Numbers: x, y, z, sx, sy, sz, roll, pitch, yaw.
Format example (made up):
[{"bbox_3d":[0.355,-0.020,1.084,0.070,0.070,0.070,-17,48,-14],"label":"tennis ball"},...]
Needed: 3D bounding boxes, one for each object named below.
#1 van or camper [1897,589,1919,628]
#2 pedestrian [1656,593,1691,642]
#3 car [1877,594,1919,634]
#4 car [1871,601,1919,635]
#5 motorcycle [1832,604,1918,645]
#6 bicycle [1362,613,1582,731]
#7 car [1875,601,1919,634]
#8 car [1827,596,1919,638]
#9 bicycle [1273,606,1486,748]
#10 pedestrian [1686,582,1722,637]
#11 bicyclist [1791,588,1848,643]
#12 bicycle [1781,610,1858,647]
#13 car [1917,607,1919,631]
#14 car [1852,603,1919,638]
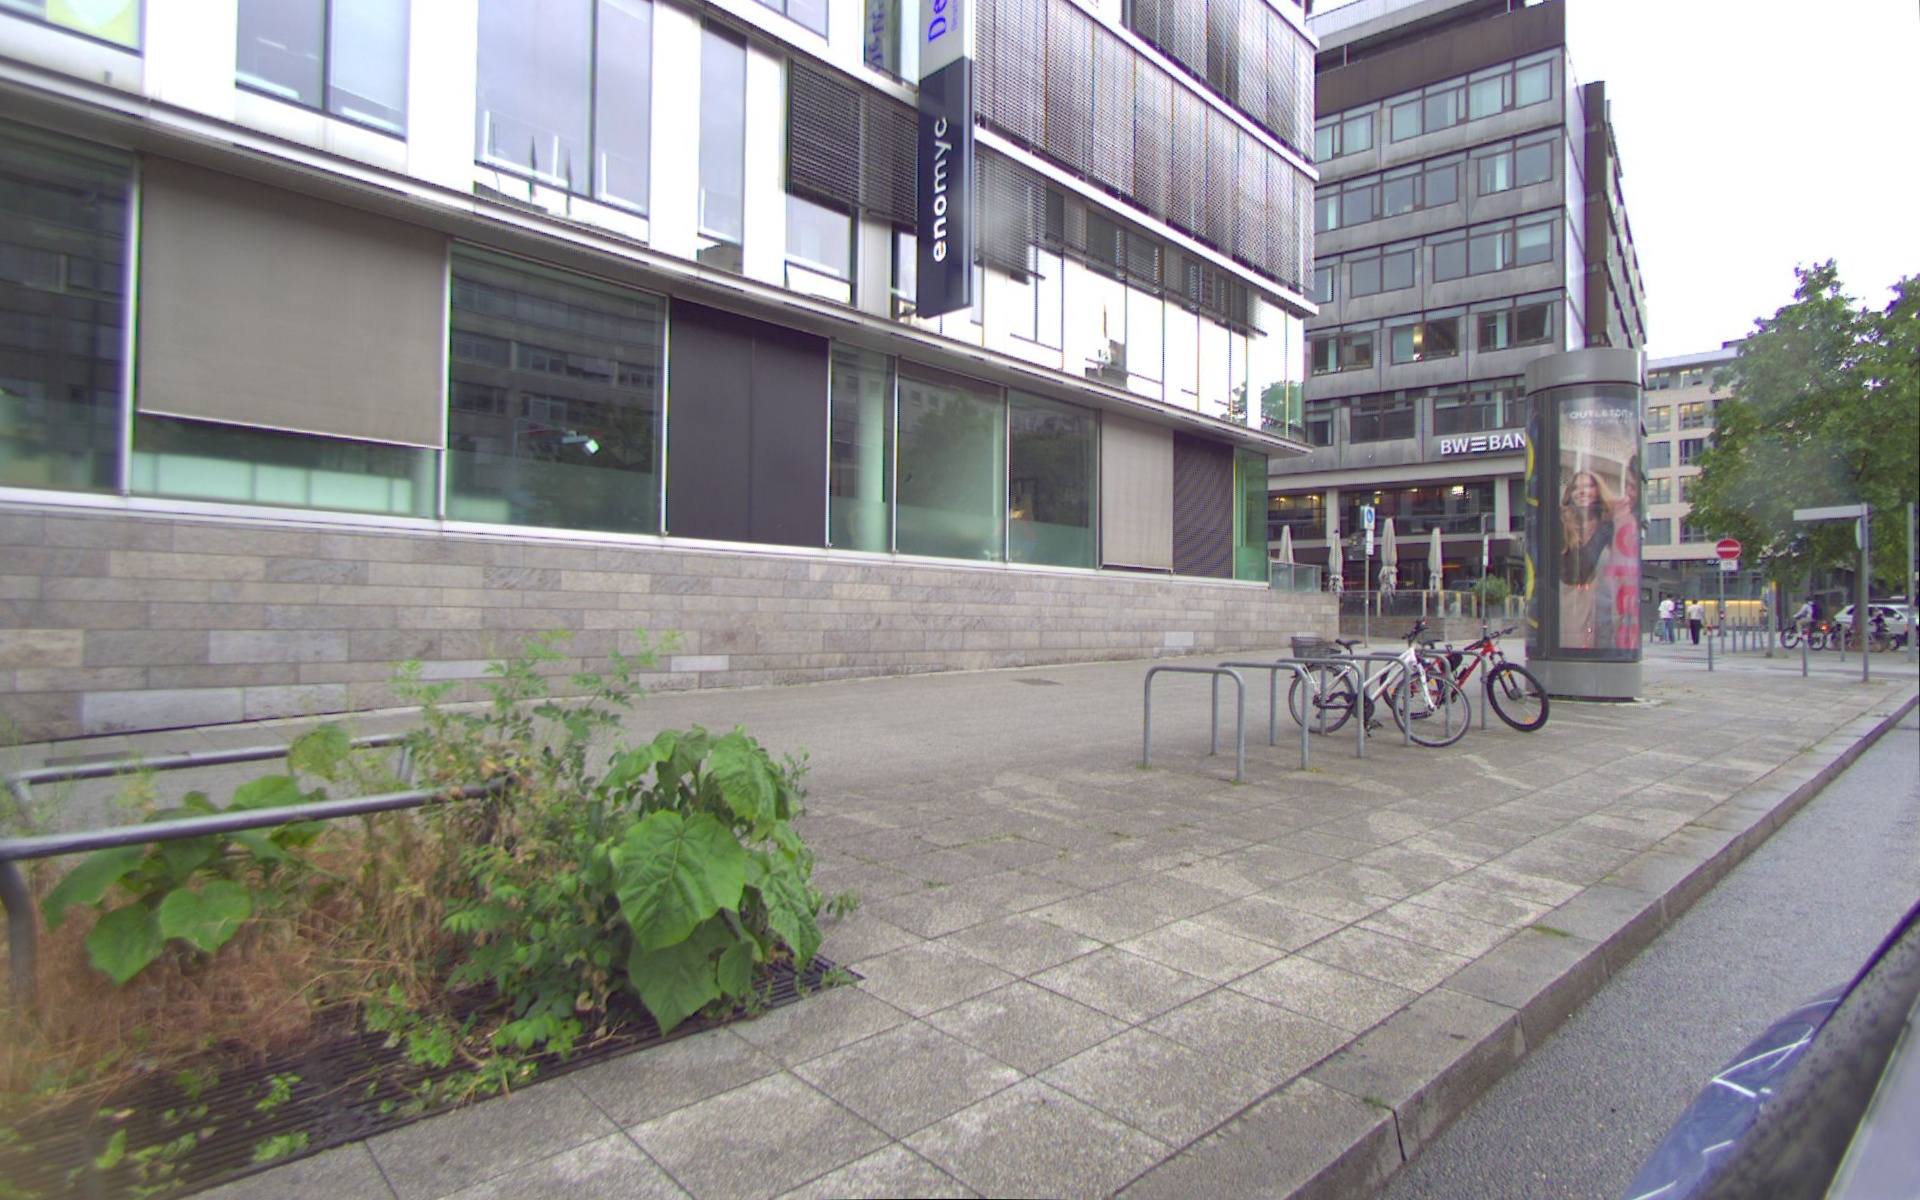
[{"bbox_3d":[61.322,0.495,61.429,2.267,2.479,6.276,0,-1,-11],"label":"van or camper"},{"bbox_3d":[27.675,0.682,39.263,0.880,1.893,0.804,1,-2,-31],"label":"pedestrian"},{"bbox_3d":[48.778,0.691,50.223,1.882,2.018,4.525,0,-1,-12],"label":"car"},{"bbox_3d":[44.824,0.821,46.276,1.876,1.557,4.365,0,-1,-14],"label":"car"},{"bbox_3d":[31.717,0.834,35.114,0.664,1.375,2.090,1,-2,-34],"label":"motorcycle"},{"bbox_3d":[5.496,0.721,10.975,0.793,1.118,1.989,1,0,-37],"label":"bicycle"},{"bbox_3d":[46.768,0.835,48.212,1.876,1.557,4.399,0,-1,-14],"label":"car"},{"bbox_3d":[38.711,0.708,41.362,1.876,1.671,4.812,0,-1,-11],"label":"car"},{"bbox_3d":[4.037,0.685,9.882,0.648,1.212,1.841,1,0,-37],"label":"bicycle"},{"bbox_3d":[28.408,0.382,38.641,0.738,2.065,0.852,1,-2,-33],"label":"pedestrian"},{"bbox_3d":[28.561,0.523,33.637,0.797,1.772,1.079,-3,-3,-2],"label":"bicyclist"},{"bbox_3d":[28.565,0.950,33.681,0.762,1.154,1.977,-2,-3,-2],"label":"bicycle"},{"bbox_3d":[58.711,1.113,58.924,1.673,1.442,4.068,0,-1,-12],"label":"car"},{"bbox_3d":[41.133,0.873,42.987,1.877,1.493,4.729,0,-1,-9],"label":"car"}]
